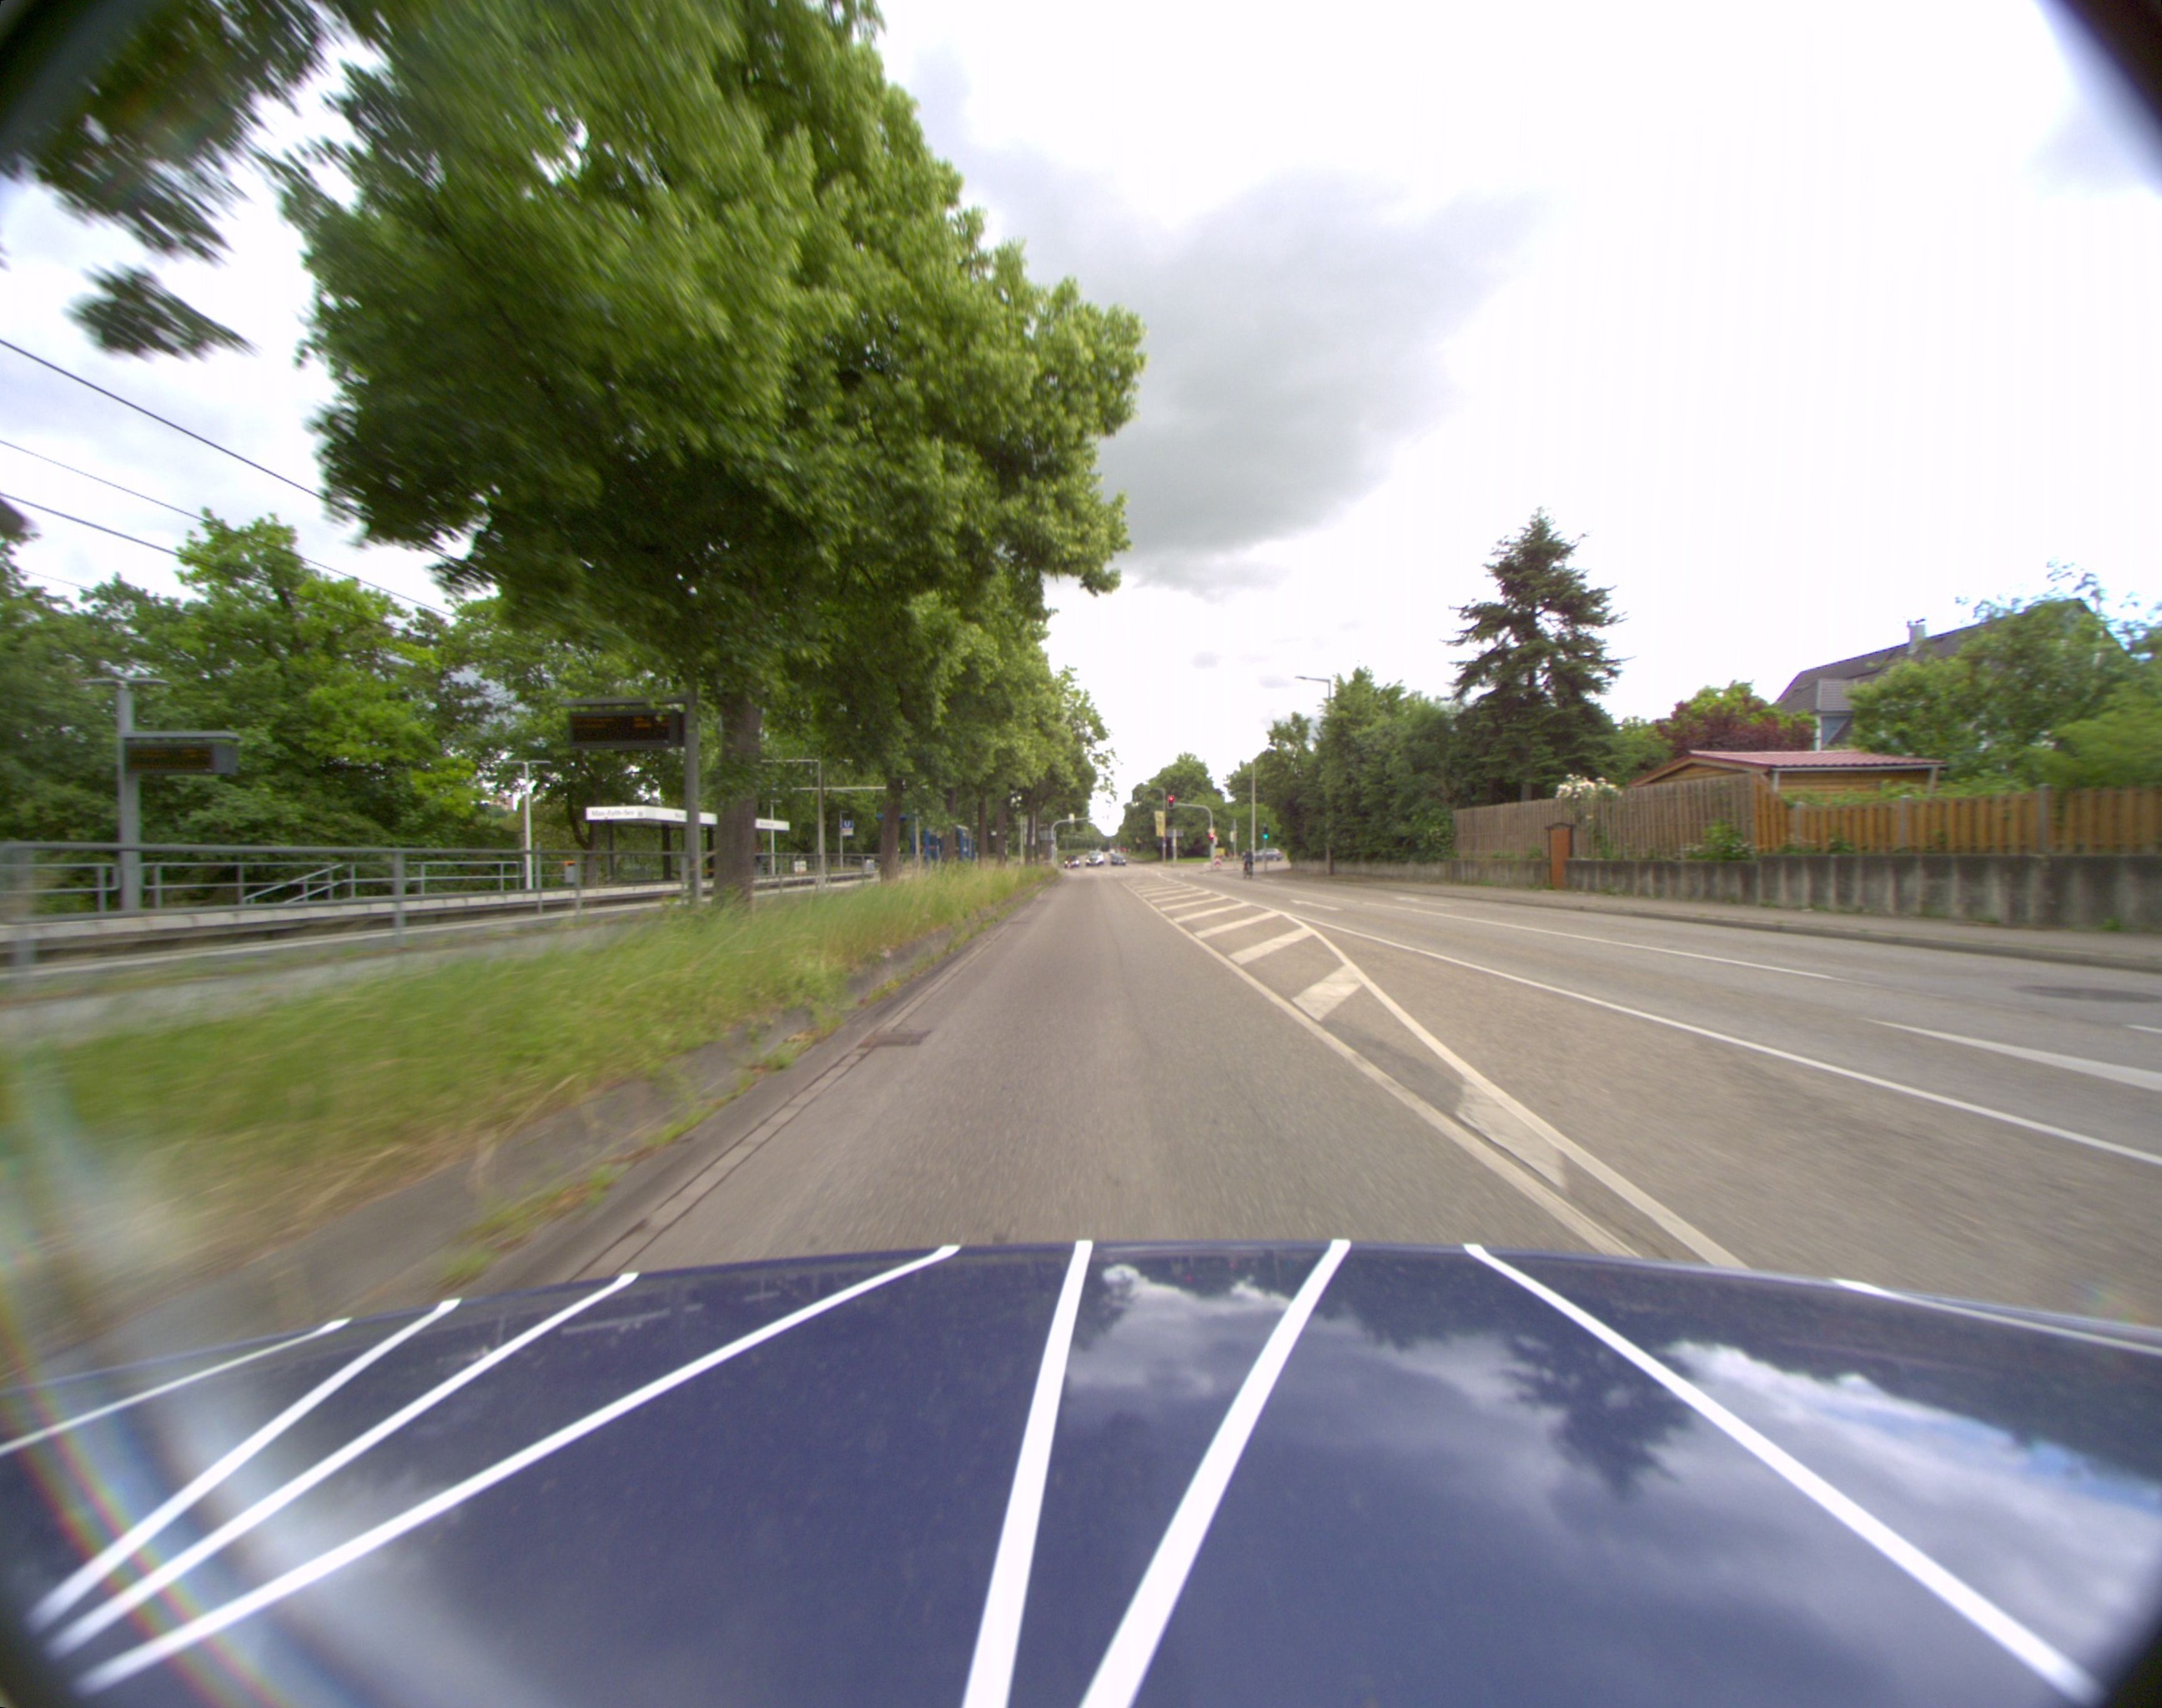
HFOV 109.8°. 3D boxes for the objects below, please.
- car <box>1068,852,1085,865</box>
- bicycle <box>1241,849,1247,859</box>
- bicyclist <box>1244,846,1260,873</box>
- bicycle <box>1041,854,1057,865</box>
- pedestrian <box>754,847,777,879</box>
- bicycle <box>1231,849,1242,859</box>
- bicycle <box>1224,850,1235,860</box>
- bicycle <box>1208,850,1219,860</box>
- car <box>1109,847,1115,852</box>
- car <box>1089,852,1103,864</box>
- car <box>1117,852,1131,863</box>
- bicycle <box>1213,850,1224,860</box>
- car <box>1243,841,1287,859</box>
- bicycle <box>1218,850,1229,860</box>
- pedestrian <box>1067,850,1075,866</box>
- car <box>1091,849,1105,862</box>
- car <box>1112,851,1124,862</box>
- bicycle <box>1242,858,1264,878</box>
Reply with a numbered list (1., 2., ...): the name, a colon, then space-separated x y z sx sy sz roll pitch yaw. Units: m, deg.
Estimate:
1. car: -0.562 0.537 95.565 1.807 1.520 3.929 -2 1 2
2. bicycle: 21.262 0.010 99.330 0.544 1.245 1.937 -2 1 18
3. bicyclist: 10.163 0.333 45.211 0.644 1.526 0.978 -3 1 -4
4. bicycle: -3.323 0.595 78.558 1.679 1.084 0.602 2 1 -3
5. pedestrian: -15.187 0.431 36.609 0.720 1.503 0.724 -3 1 3
6. bicycle: 20.355 0.045 99.731 0.544 1.245 1.939 -2 2 38
7. bicycle: 19.555 0.075 100.197 0.544 1.245 1.939 -2 2 38
8. bicycle: 17.644 0.081 101.502 0.544 1.245 1.939 -2 2 38
9. car: 10.145 -1.360 249.200 1.743 1.530 3.910 -2 1 4
10. car: 1.931 0.488 96.938 1.708 1.472 3.667 -1 1 1
11. car: 5.424 0.430 96.559 1.560 1.458 3.807 1 0 1
12. bicycle: 18.267 0.089 101.209 0.544 1.245 1.939 -2 1 38
13. car: 21.996 -0.475 90.778 4.734 1.842 2.003 -2 1 27
14. bicycle: 18.941 0.093 100.870 0.544 1.245 1.939 -2 2 38
15. pedestrian: -1.137 0.451 87.325 0.753 1.727 0.840 2 1 5
16. car: 2.353 0.193 107.428 1.912 1.832 5.281 -1 1 1
17. car: 5.096 0.327 104.143 1.595 1.459 3.929 1 1 2
18. bicycle: 10.189 0.824 45.180 0.644 1.138 2.147 -3 0 -4
